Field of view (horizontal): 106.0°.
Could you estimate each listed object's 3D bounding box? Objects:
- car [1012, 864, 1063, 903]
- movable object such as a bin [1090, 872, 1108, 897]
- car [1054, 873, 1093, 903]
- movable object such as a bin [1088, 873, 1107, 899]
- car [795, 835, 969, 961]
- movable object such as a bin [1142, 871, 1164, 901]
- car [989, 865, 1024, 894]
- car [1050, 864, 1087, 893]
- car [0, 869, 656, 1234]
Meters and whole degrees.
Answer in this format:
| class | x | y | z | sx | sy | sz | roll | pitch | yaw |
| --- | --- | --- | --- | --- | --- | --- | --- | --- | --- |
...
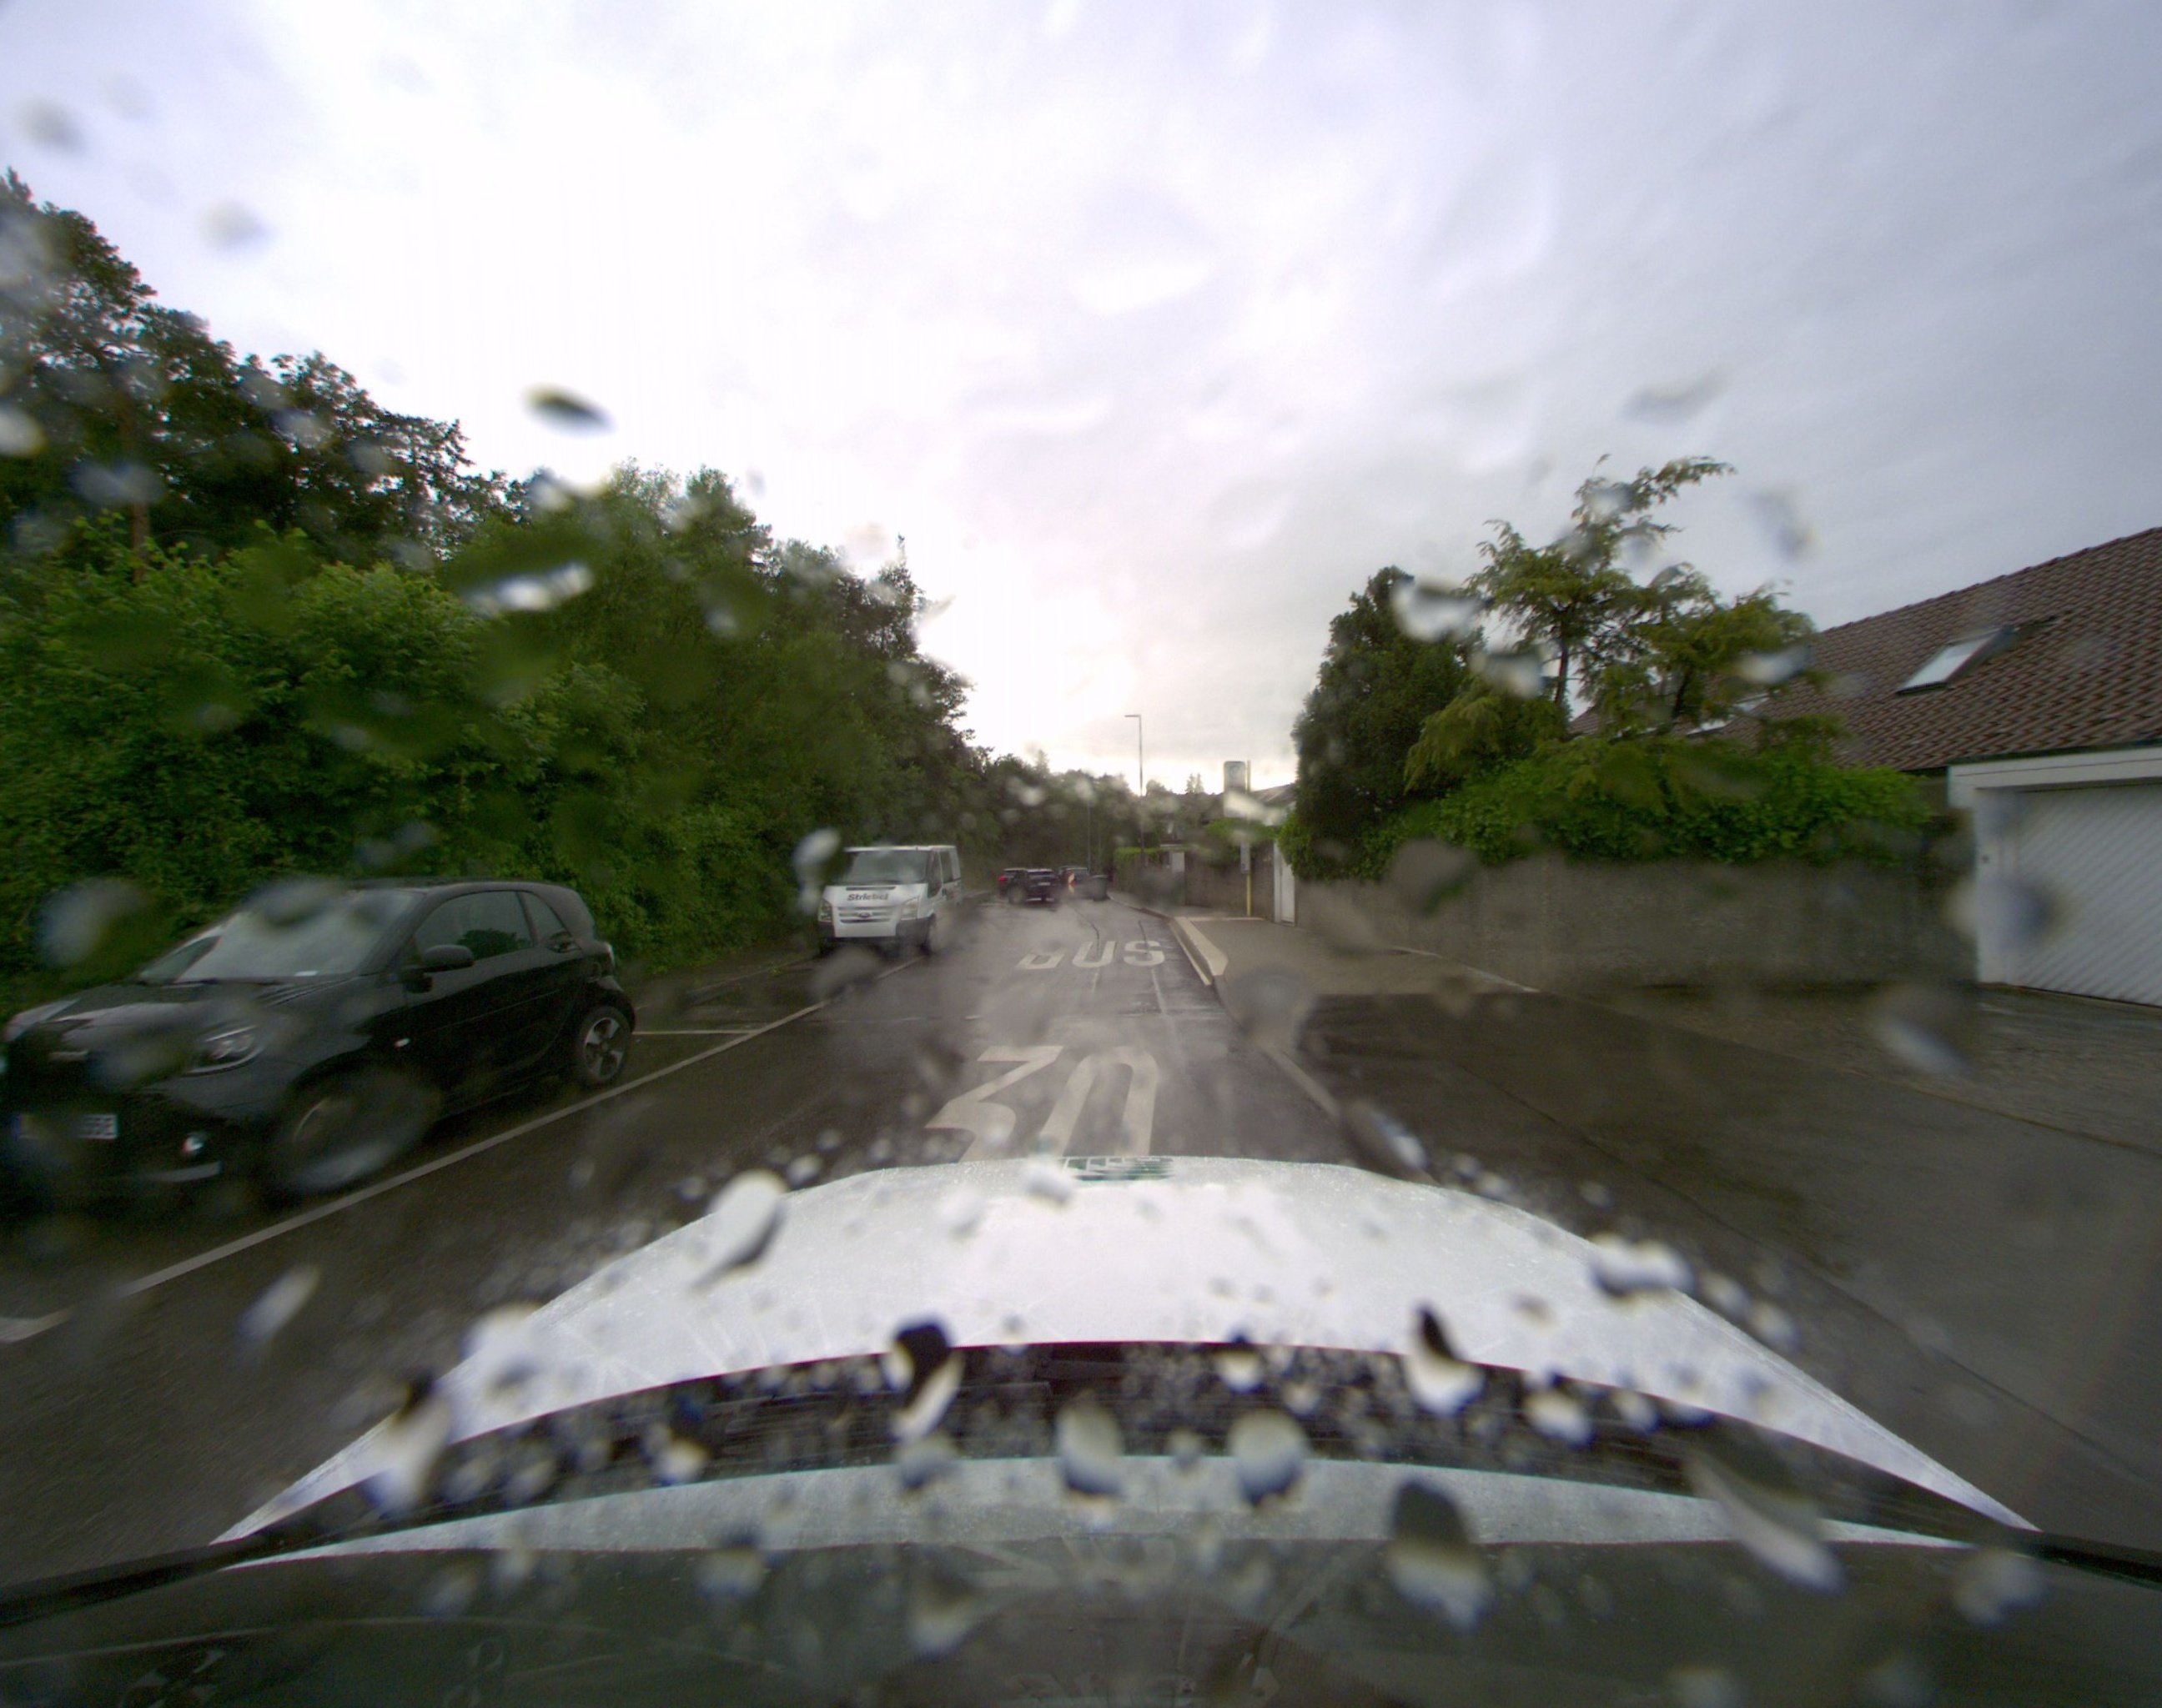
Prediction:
| class | x | y | z | sx | sy | sz | roll | pitch | yaw |
| --- | --- | --- | --- | --- | --- | --- | --- | --- | --- |
| car | -1.950 | 1.353 | 35.614 | 1.867 | 1.513 | 4.079 | 1 | -5 | -8 |
| movable object such as a bin | 0.808 | 1.376 | 36.915 | 0.728 | 1.078 | 0.659 | -1 | -1 | -6 |
| car | -0.454 | 1.750 | 43.139 | 1.753 | 1.462 | 4.294 | -1 | -1 | -4 |
| movable object such as a bin | 0.728 | 1.399 | 35.758 | 0.715 | 1.095 | 0.654 | 0 | -1 | -9 |
| car | -3.572 | 0.732 | 15.738 | 2.105 | 1.974 | 5.170 | -2 | -1 | -1 |
| movable object such as a bin | 2.754 | 1.232 | 31.294 | 0.737 | 1.088 | 0.599 | -3 | -1 | -2 |
| car | -4.426 | 1.503 | 48.870 | 1.990 | 1.605 | 4.402 | -1 | -1 | -4 |
| car | -0.794 | 1.424 | 48.597 | 1.872 | 1.592 | 4.472 | -1 | -1 | -5 |
| car | -4.283 | 0.888 | 4.982 | 1.594 | 1.511 | 2.947 | -2 | -1 | 5 |
